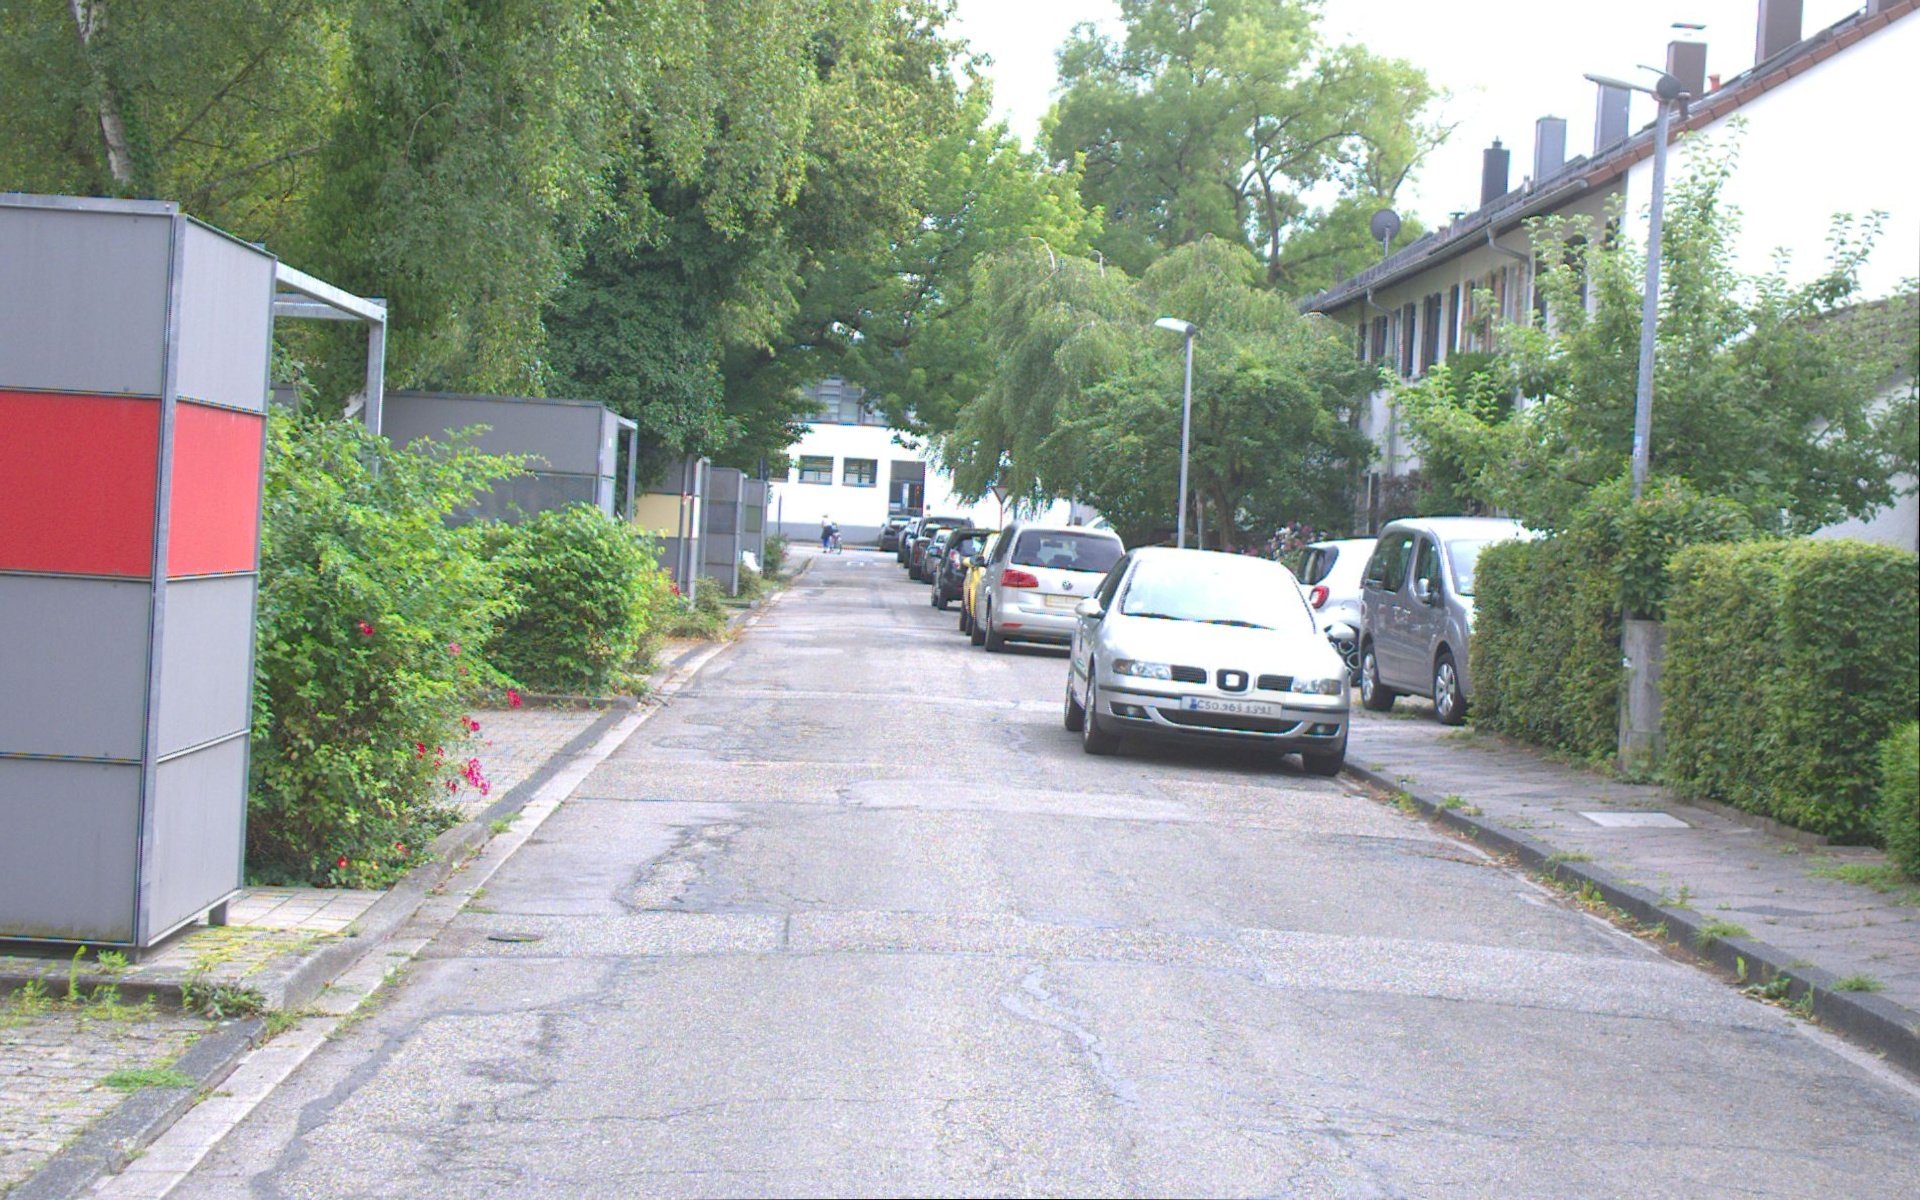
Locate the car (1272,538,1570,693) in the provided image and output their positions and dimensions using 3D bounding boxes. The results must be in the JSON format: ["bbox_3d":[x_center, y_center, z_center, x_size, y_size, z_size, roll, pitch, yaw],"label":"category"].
[{"bbox_3d":[4.864,0.146,36.551,2.816,1.564,1.741,1,1,-4],"label":"car"}]

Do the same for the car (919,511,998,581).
[{"bbox_3d":[-0.062,-1.397,88.070,1.825,1.576,4.000,5,1,-1],"label":"car"}]

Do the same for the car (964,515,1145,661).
[{"bbox_3d":[1.126,-0.188,42.835,1.825,1.576,4.001,5,1,-3],"label":"car"}]

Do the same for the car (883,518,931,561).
[{"bbox_3d":[-2.170,-2.497,140.552,1.825,1.576,4.000,5,1,-1],"label":"car"}]

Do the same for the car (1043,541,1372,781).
[{"bbox_3d":[1.645,0.354,24.299,1.825,1.365,4.331,5,1,-1],"label":"car"}]

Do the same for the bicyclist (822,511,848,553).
[{"bbox_3d":[-4.671,-2.540,128.105,0.798,1.505,0.934,5,1,1],"label":"bicyclist"}]

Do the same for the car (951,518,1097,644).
[{"bbox_3d":[0.875,-0.308,49.426,1.825,1.576,4.000,5,1,-1],"label":"car"}]

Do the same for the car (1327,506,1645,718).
[{"bbox_3d":[4.649,0.070,31.029,1.825,1.771,4.342,0,1,-5],"label":"car"}]

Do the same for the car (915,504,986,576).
[{"bbox_3d":[-0.298,-1.752,99.823,1.825,1.876,4.000,5,1,-1],"label":"car"}]

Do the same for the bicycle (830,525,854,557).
[{"bbox_3d":[-4.381,-2.186,127.937,0.689,1.127,2.579,5,1,1],"label":"bicycle"}]

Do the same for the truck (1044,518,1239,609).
[{"bbox_3d":[4.271,-0.872,81.366,4.390,2.007,2.000,1,1,-2],"label":"truck"}]

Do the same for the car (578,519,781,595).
[{"bbox_3d":[-5.746,-0.897,70.776,4.031,1.389,1.738,2,1,-2],"label":"car"}]

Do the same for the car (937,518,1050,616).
[{"bbox_3d":[0.584,-0.633,63.058,1.825,1.576,4.193,5,1,-1],"label":"car"}]
